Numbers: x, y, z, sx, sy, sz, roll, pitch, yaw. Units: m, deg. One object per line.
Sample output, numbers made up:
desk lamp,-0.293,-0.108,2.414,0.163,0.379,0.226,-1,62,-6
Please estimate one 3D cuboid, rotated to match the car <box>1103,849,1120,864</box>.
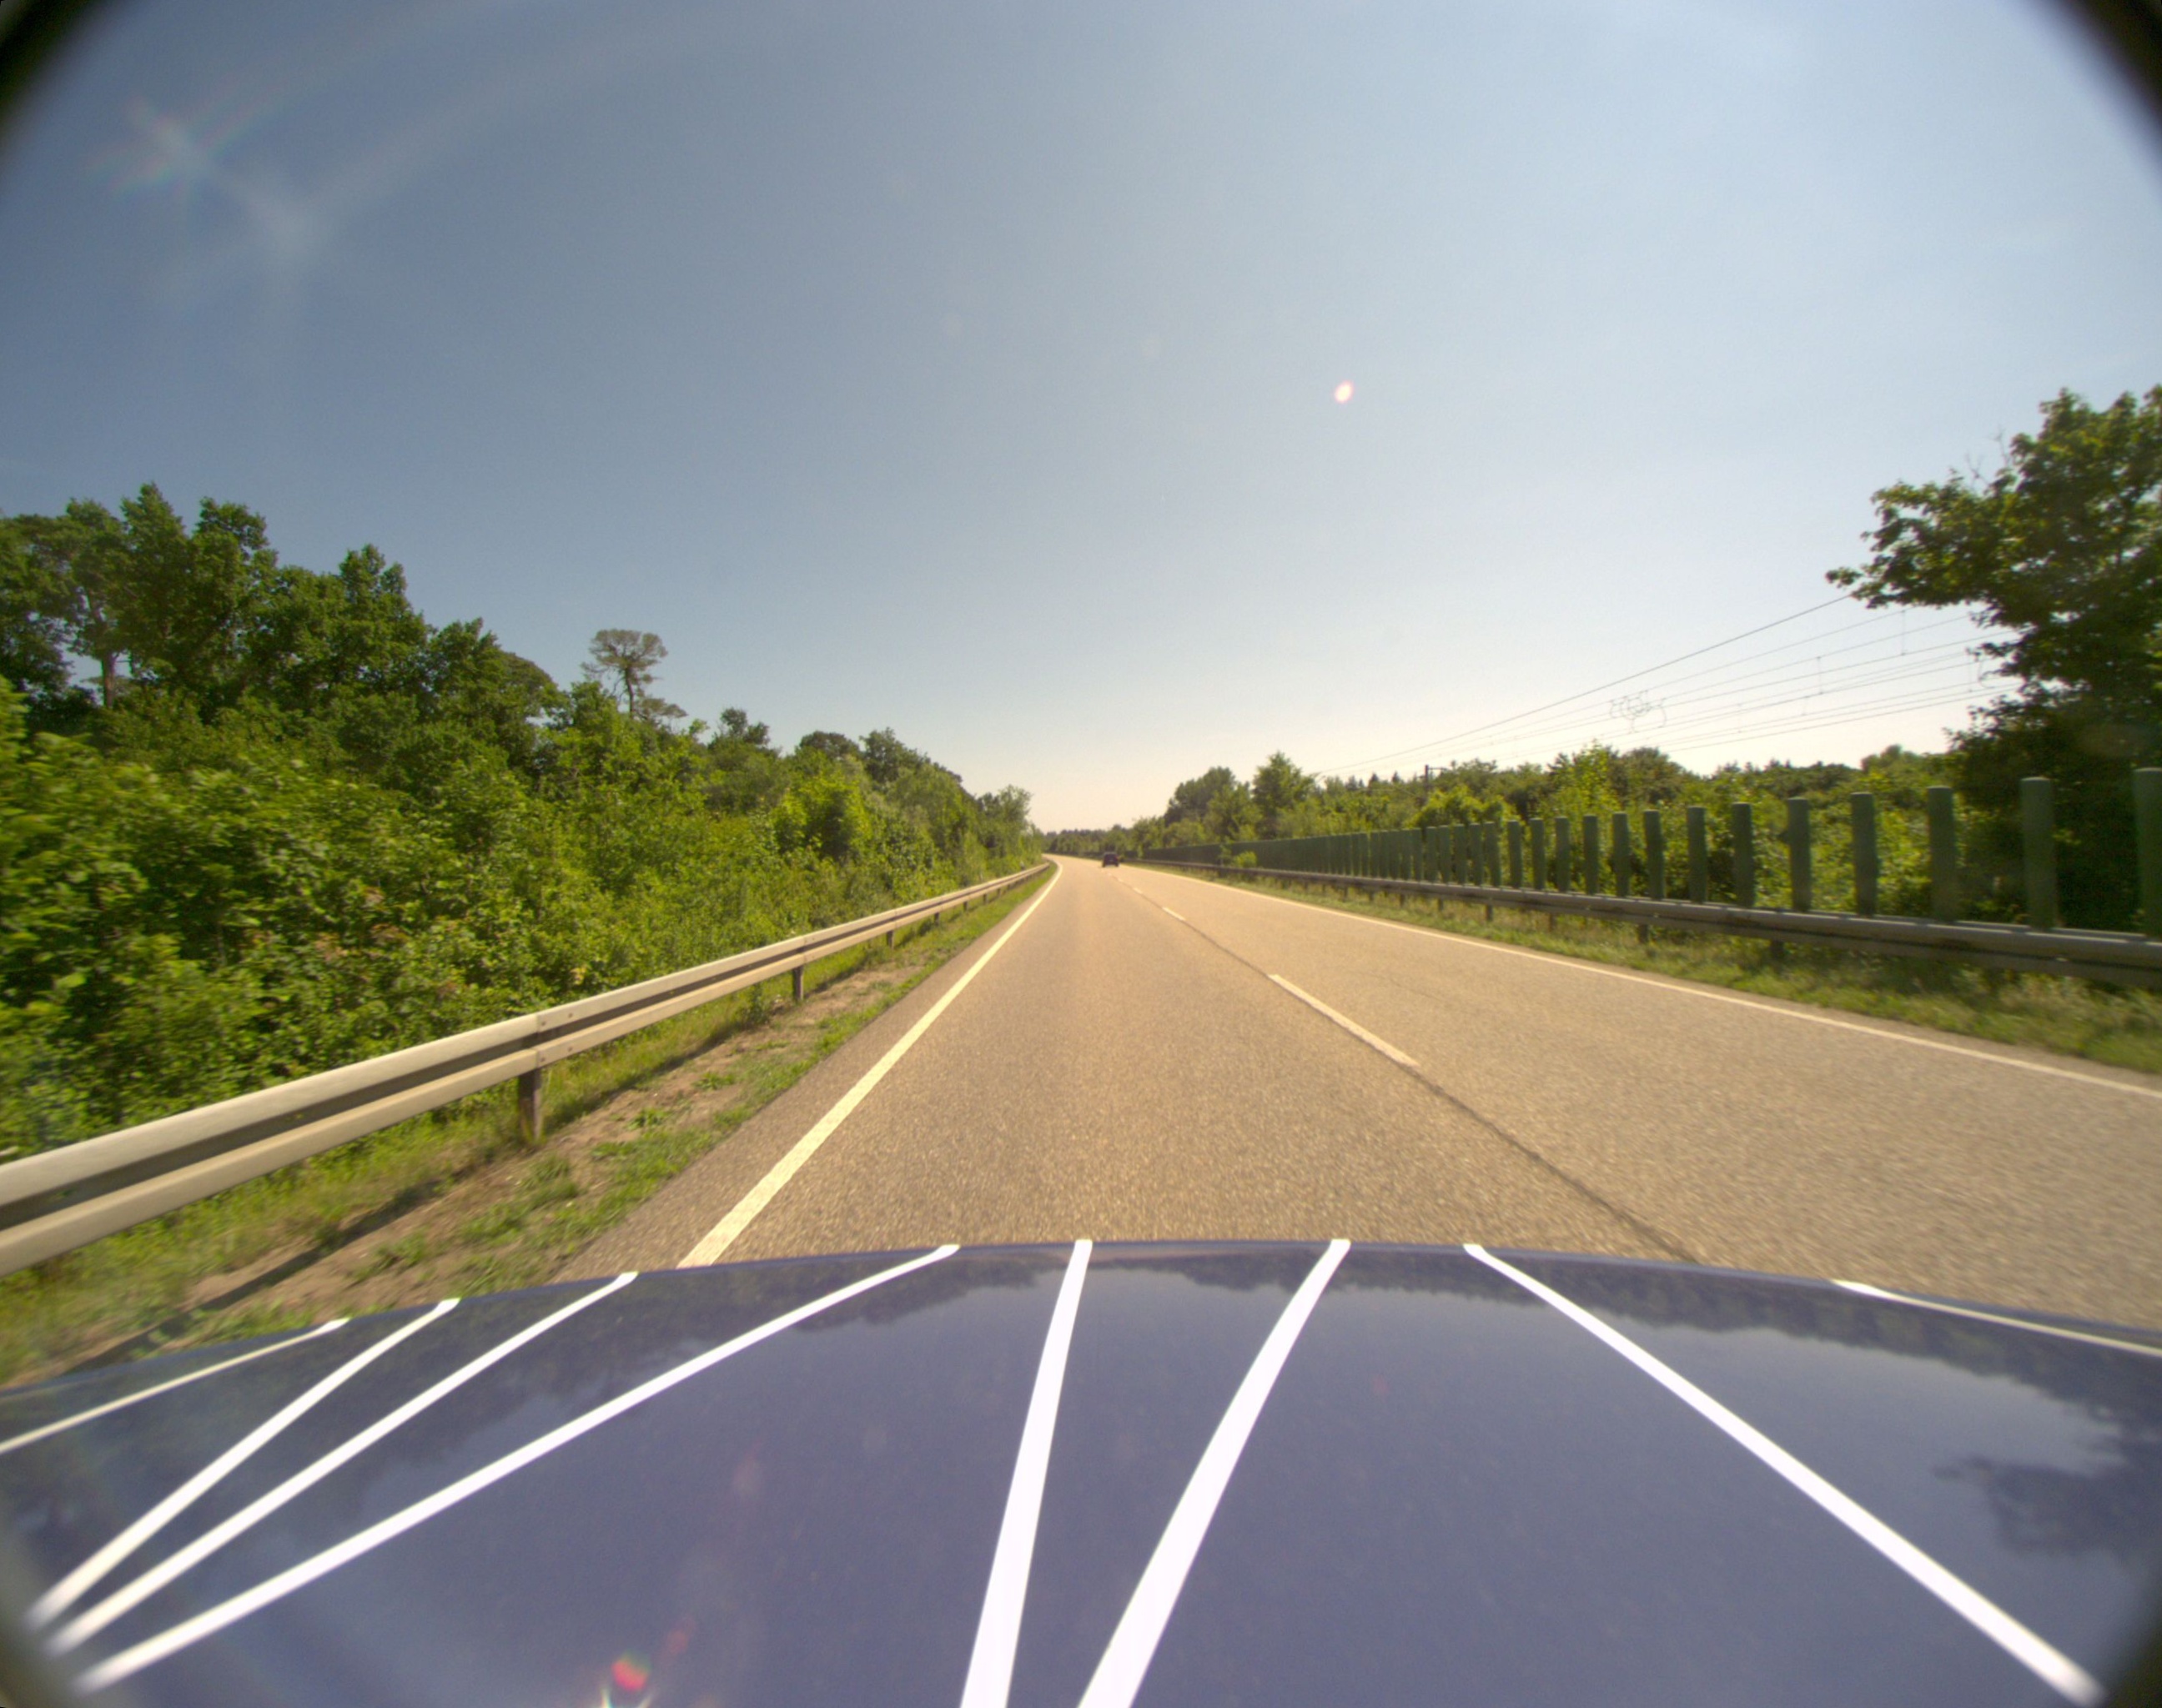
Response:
car,3.518,0.310,87.541,1.768,1.631,4.126,-2,0,0
